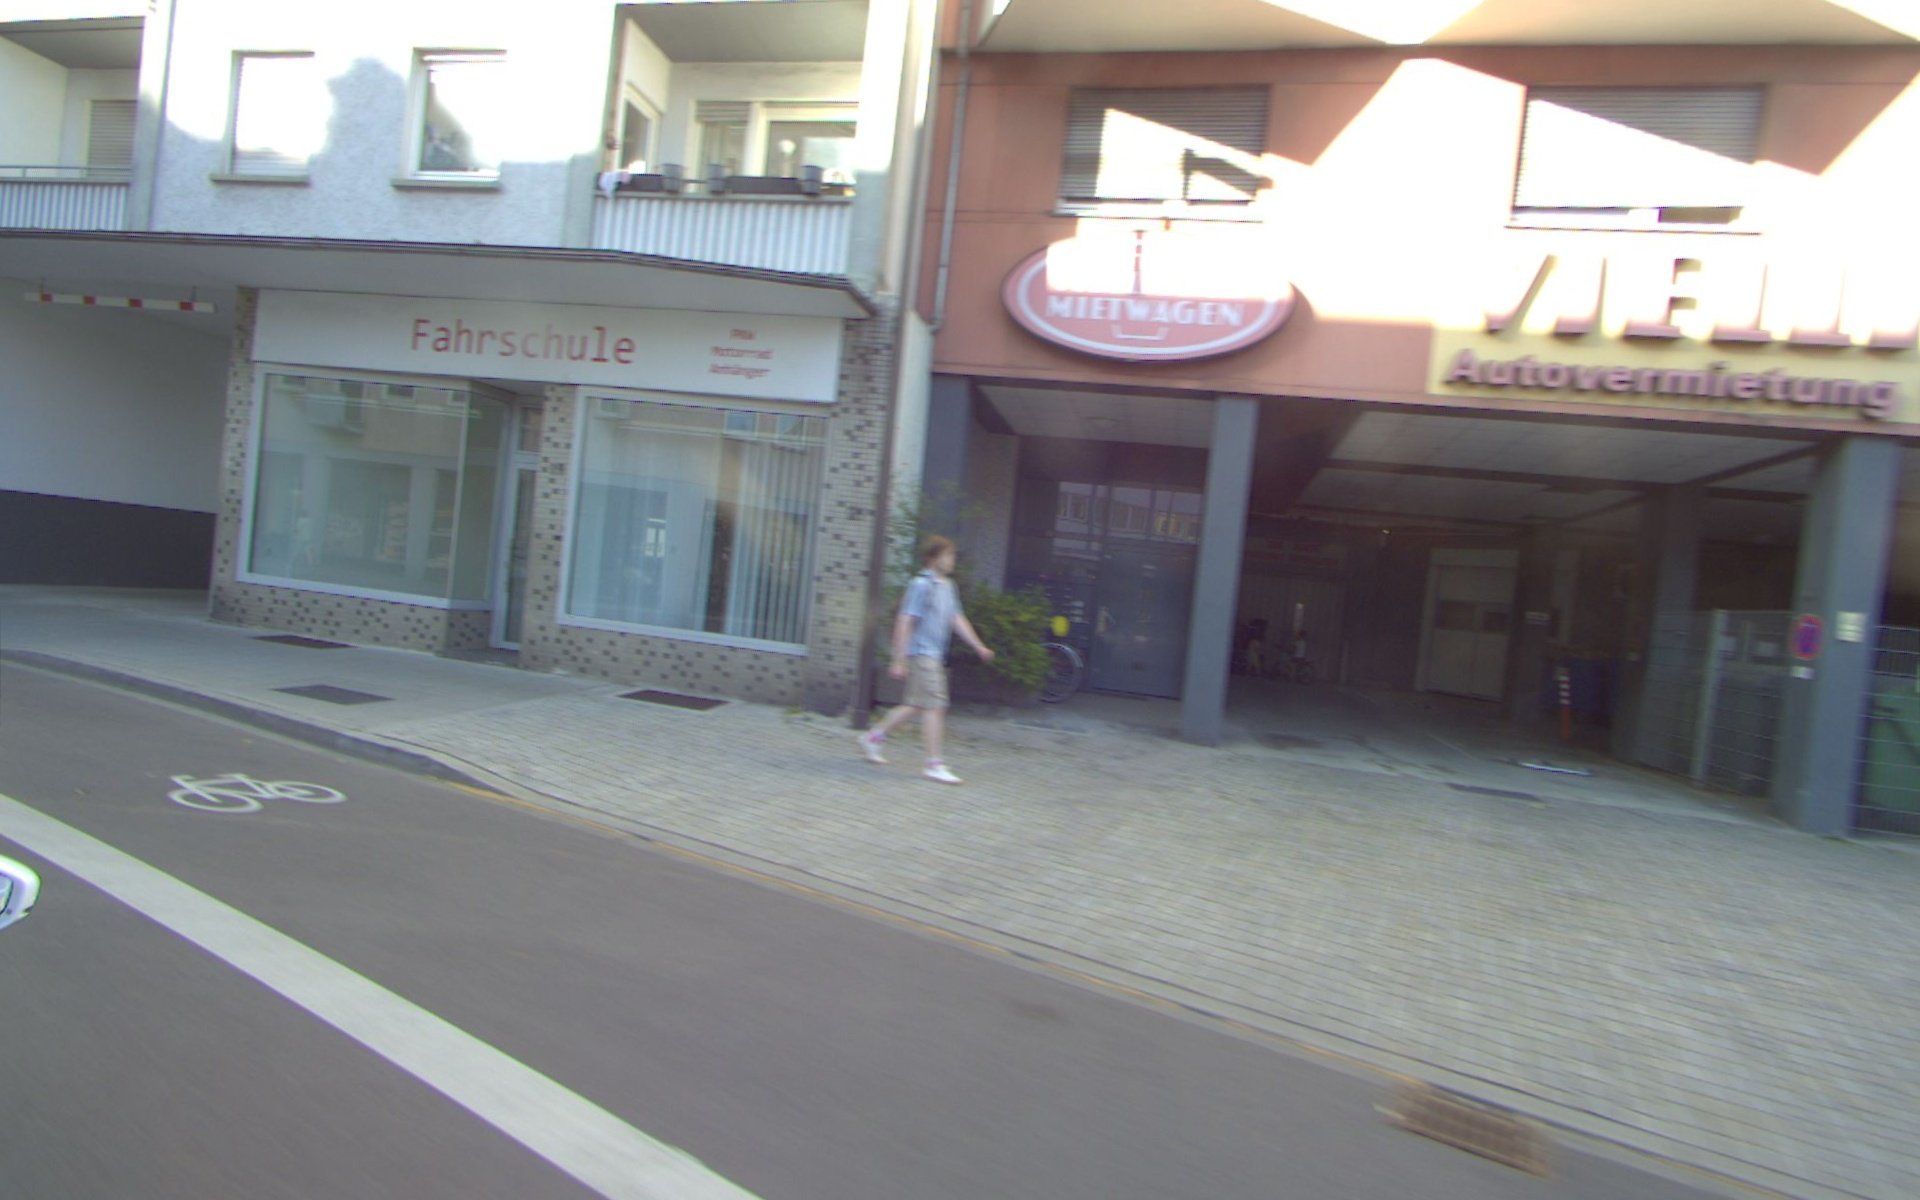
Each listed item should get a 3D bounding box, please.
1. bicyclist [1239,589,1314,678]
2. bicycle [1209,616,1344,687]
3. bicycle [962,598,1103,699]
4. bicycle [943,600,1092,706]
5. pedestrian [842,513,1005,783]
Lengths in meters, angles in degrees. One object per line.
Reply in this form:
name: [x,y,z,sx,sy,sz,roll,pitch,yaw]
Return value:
bicyclist: [6.679,0.708,21.225,1.177,1.706,0.689,7,-1,35]
bicycle: [6.648,1.070,21.225,2.538,1.177,0.689,6,-1,35]
bicycle: [0.925,0.605,12.784,1.607,1.051,0.496,7,1,13]
bicycle: [0.688,0.618,12.031,1.607,1.052,0.496,7,1,13]
pedestrian: [-0.259,0.340,7.675,0.930,1.880,0.733,6,3,13]
